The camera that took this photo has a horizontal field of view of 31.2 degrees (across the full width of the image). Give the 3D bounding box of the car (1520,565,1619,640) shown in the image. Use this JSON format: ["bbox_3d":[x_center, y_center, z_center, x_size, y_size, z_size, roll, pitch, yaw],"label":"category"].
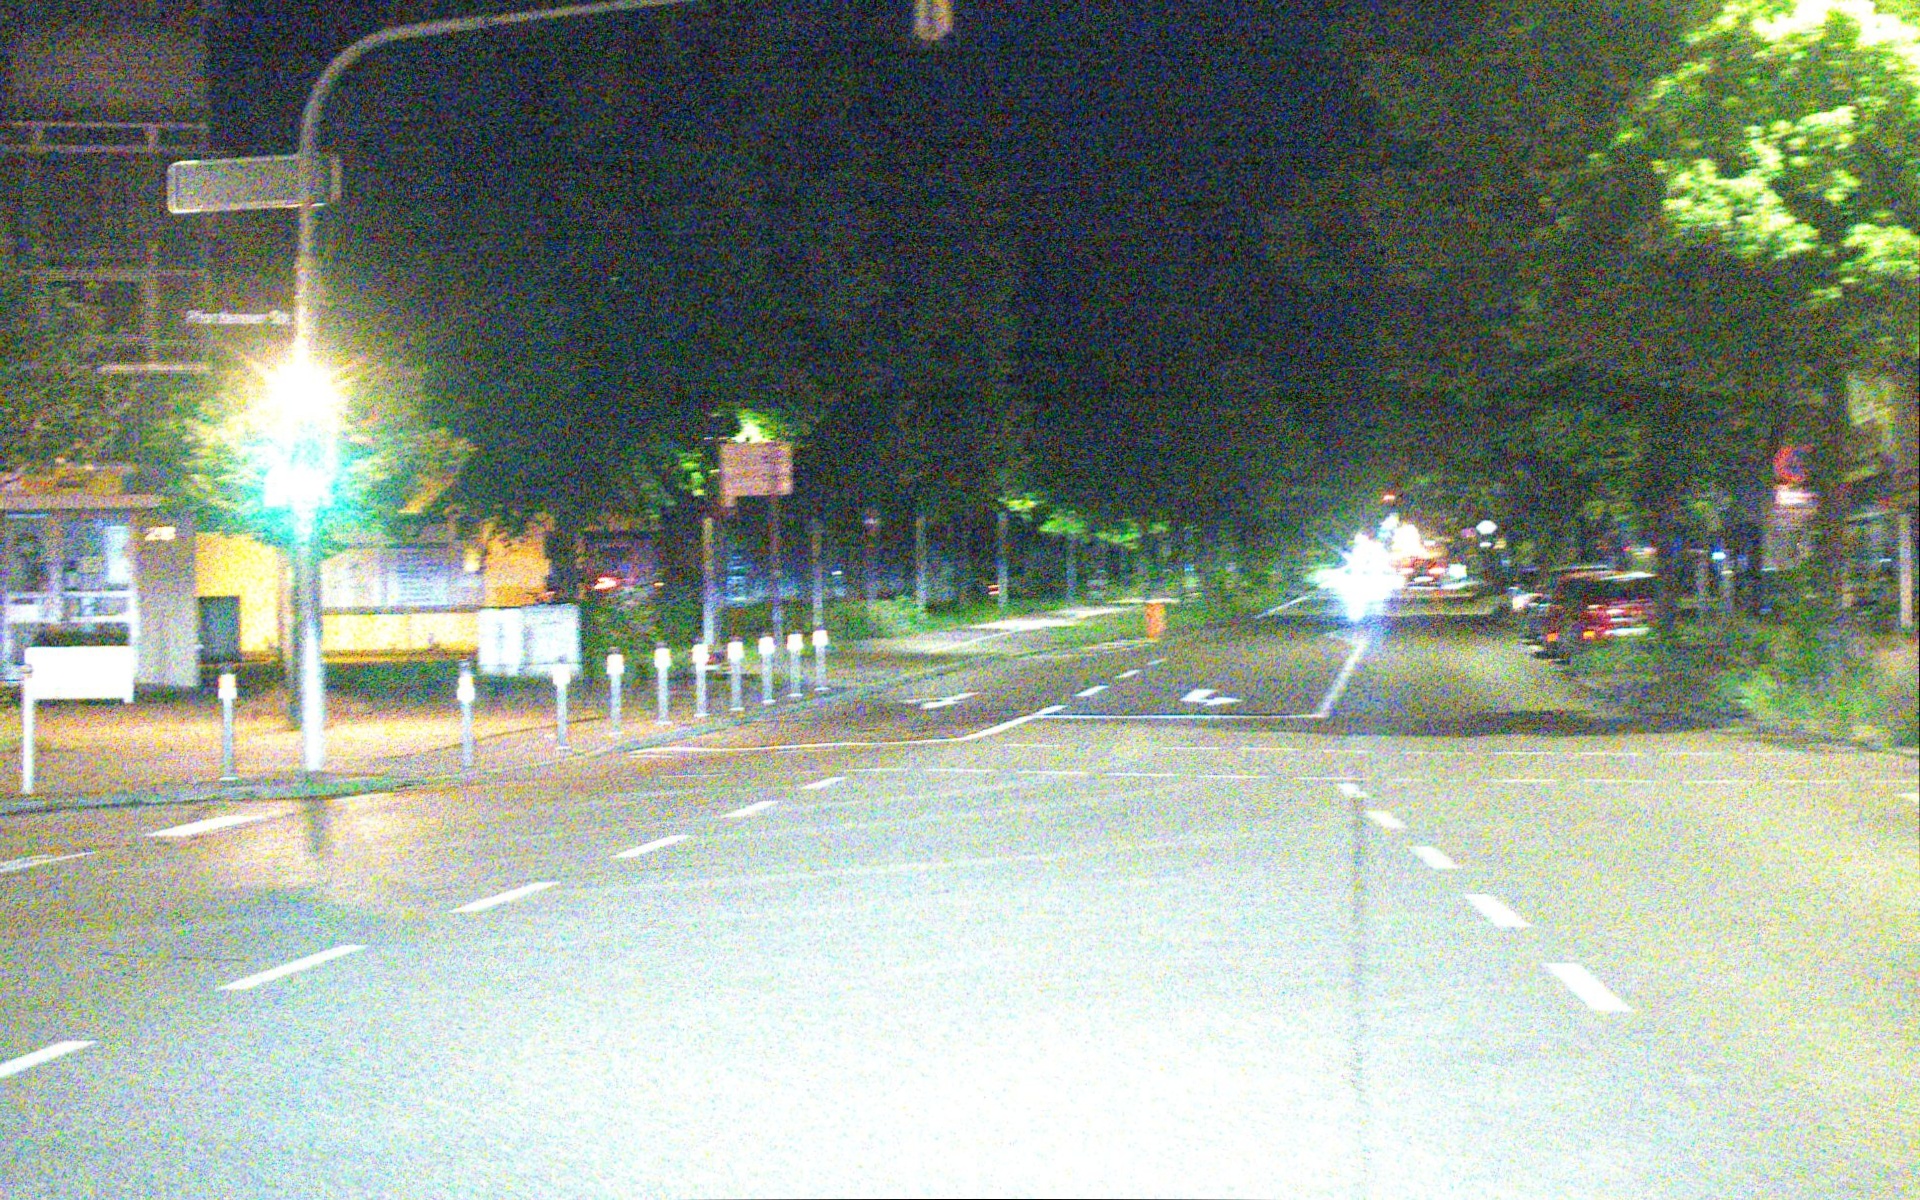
[{"bbox_3d":[12.188,0.030,68.913,1.889,1.448,3.893,1,1,9],"label":"car"}]

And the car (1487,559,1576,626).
[{"bbox_3d":[14.409,-0.191,86.534,2.007,1.620,3.893,1,1,12],"label":"car"}]

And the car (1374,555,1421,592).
[{"bbox_3d":[20.431,-1.223,160.634,1.876,1.654,3.890,-1,0,3],"label":"car"}]

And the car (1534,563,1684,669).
[{"bbox_3d":[10.572,0.238,56.243,1.869,1.648,3.863,1,1,3],"label":"car"}]

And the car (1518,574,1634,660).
[{"bbox_3d":[11.008,0.274,61.231,1.890,1.448,3.893,1,1,12],"label":"car"}]
